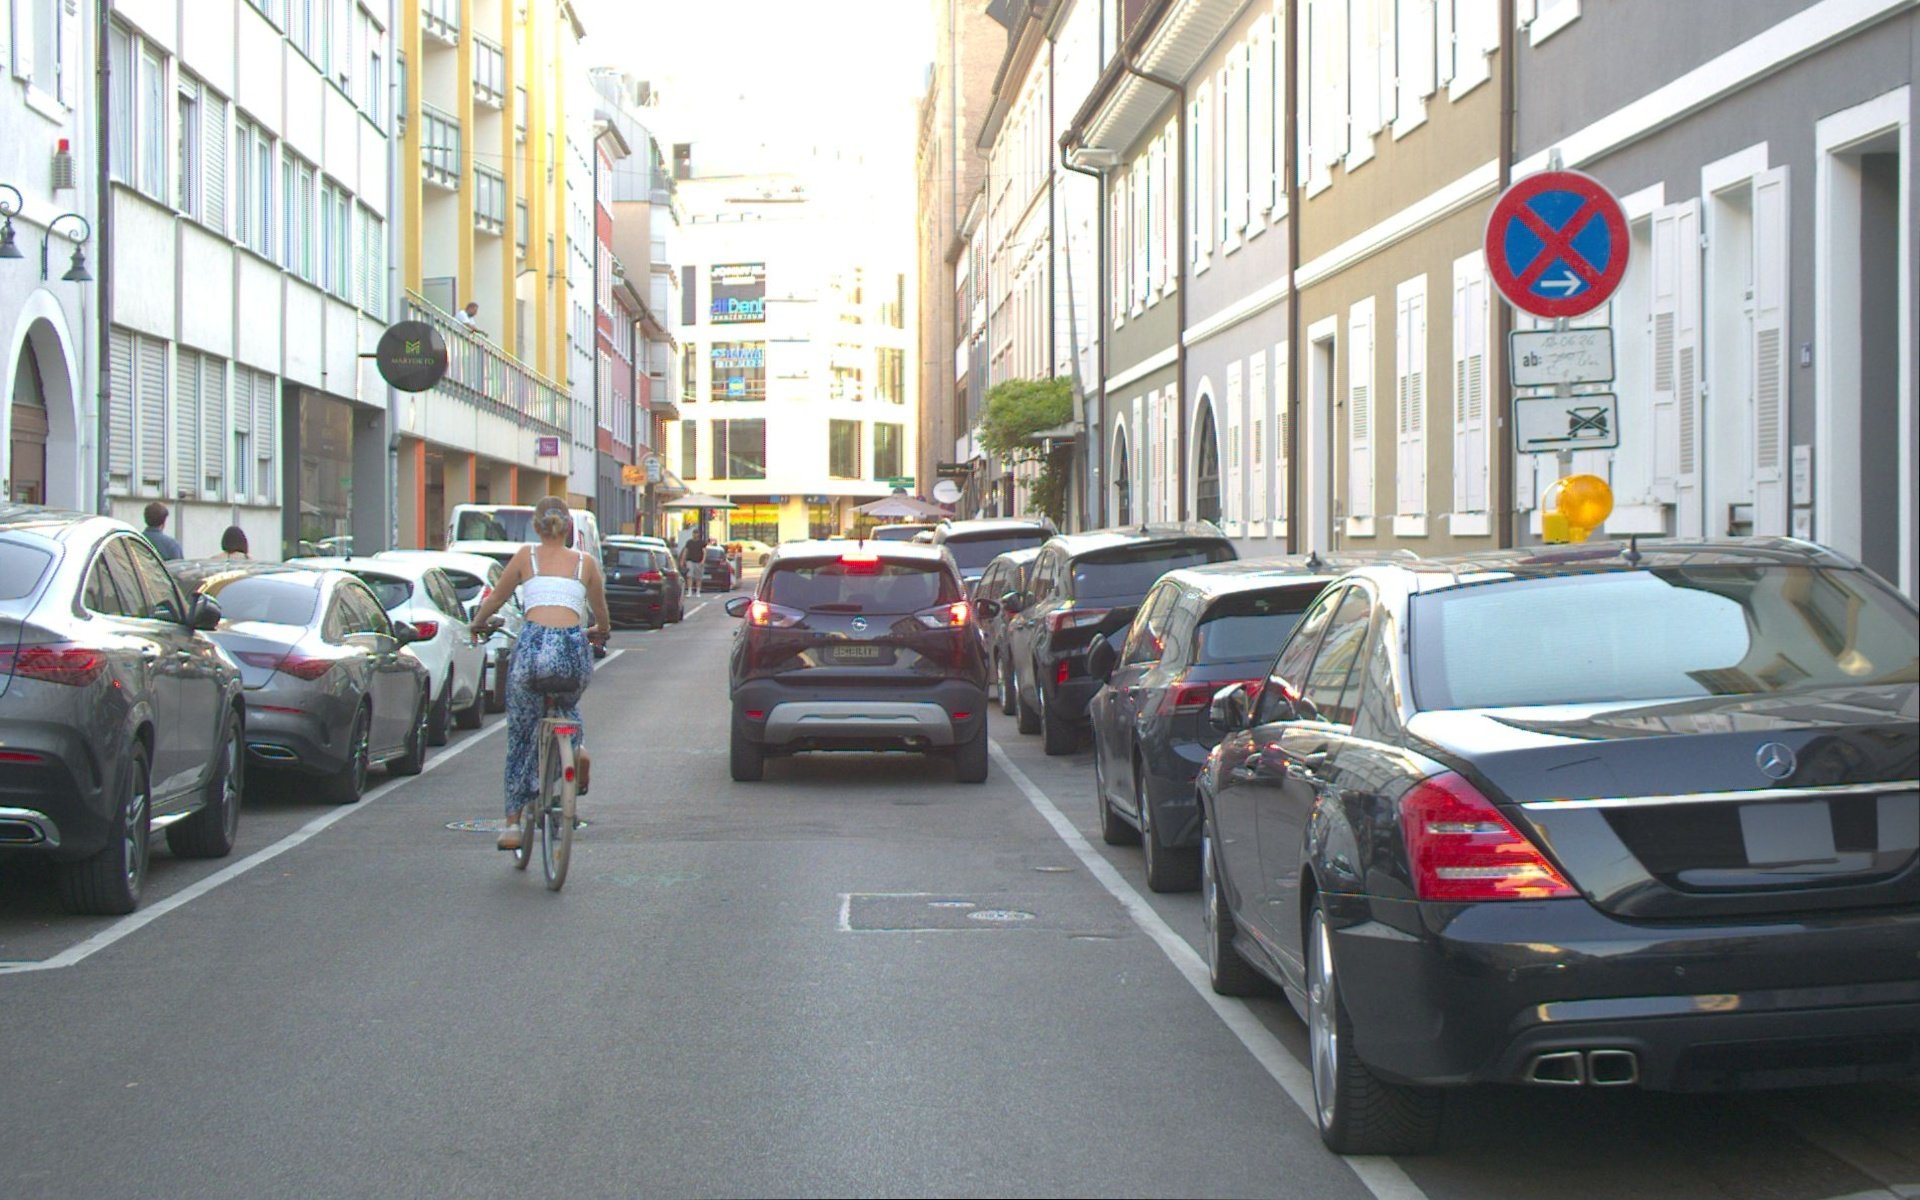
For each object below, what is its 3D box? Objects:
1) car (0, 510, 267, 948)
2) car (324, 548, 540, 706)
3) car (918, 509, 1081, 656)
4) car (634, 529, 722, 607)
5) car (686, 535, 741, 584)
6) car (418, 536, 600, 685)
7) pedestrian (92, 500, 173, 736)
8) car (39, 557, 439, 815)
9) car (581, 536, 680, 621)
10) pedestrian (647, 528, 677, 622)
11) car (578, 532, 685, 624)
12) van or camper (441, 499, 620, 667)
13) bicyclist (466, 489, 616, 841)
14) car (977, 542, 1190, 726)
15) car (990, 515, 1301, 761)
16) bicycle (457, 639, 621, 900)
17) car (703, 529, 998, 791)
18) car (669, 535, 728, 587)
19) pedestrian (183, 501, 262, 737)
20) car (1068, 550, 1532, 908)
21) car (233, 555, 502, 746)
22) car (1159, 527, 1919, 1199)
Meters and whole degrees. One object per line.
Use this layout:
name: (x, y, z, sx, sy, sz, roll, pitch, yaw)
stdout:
car: (-4.475, 0.444, 15.595, 1.997, 1.701, 4.536, 1, 1, -4)
car: (-5.072, 0.217, 33.395, 1.653, 1.406, 3.606, 1, 1, -2)
car: (0.406, -0.221, 39.099, 1.653, 1.555, 3.606, 1, 1, -2)
car: (-5.875, -0.690, 71.892, 1.653, 1.555, 3.606, 1, 1, -2)
car: (-8.094, -1.331, 112.986, 1.653, 1.555, 3.606, 1, 1, -2)
car: (-4.986, 0.077, 38.379, 1.653, 1.555, 3.606, 1, 1, -2)
pedestrian: (-7.112, 0.152, 29.573, 0.610, 2.007, 0.450, 0, 1, -5)
car: (-4.495, 0.474, 22.038, 1.918, 1.429, 4.294, 1, 1, -4)
car: (-6.319, -0.426, 66.182, 1.653, 1.555, 3.606, 1, 1, -2)
pedestrian: (-5.608, -0.472, 64.665, 0.553, 1.746, 0.568, 0, 1, -5)
car: (-5.797, -0.410, 60.891, 1.653, 1.555, 3.606, 1, 1, -2)
van or camper: (-5.461, -0.252, 44.210, 1.844, 2.006, 4.679, 1, 1, -2)
bicyclist: (-1.924, 0.285, 15.734, 0.620, 1.569, 0.684, 0, 1, -12)
car: (1.076, 0.264, 31.534, 1.653, 1.555, 3.606, 1, 1, -2)
car: (1.355, 0.238, 26.786, 1.918, 1.732, 4.154, 1, 1, -3)
bicycle: (-1.960, 0.746, 15.840, 0.613, 1.078, 1.810, 0, 1, -11)
car: (-0.782, 0.342, 23.616, 1.819, 1.612, 4.001, 1, 1, -3)
car: (-8.062, -1.221, 106.213, 1.653, 1.555, 3.606, 1, 1, -2)
pedestrian: (-6.336, 0.159, 29.545, 0.610, 2.007, 0.450, 0, 1, -5)
car: (1.517, 0.523, 16.688, 1.676, 1.481, 4.001, 1, 1, -2)
car: (-4.804, 0.363, 28.311, 1.653, 1.406, 3.903, 1, 1, -2)
car: (1.717, 0.609, 9.916, 1.819, 1.525, 5.071, -3, 1, -1)
